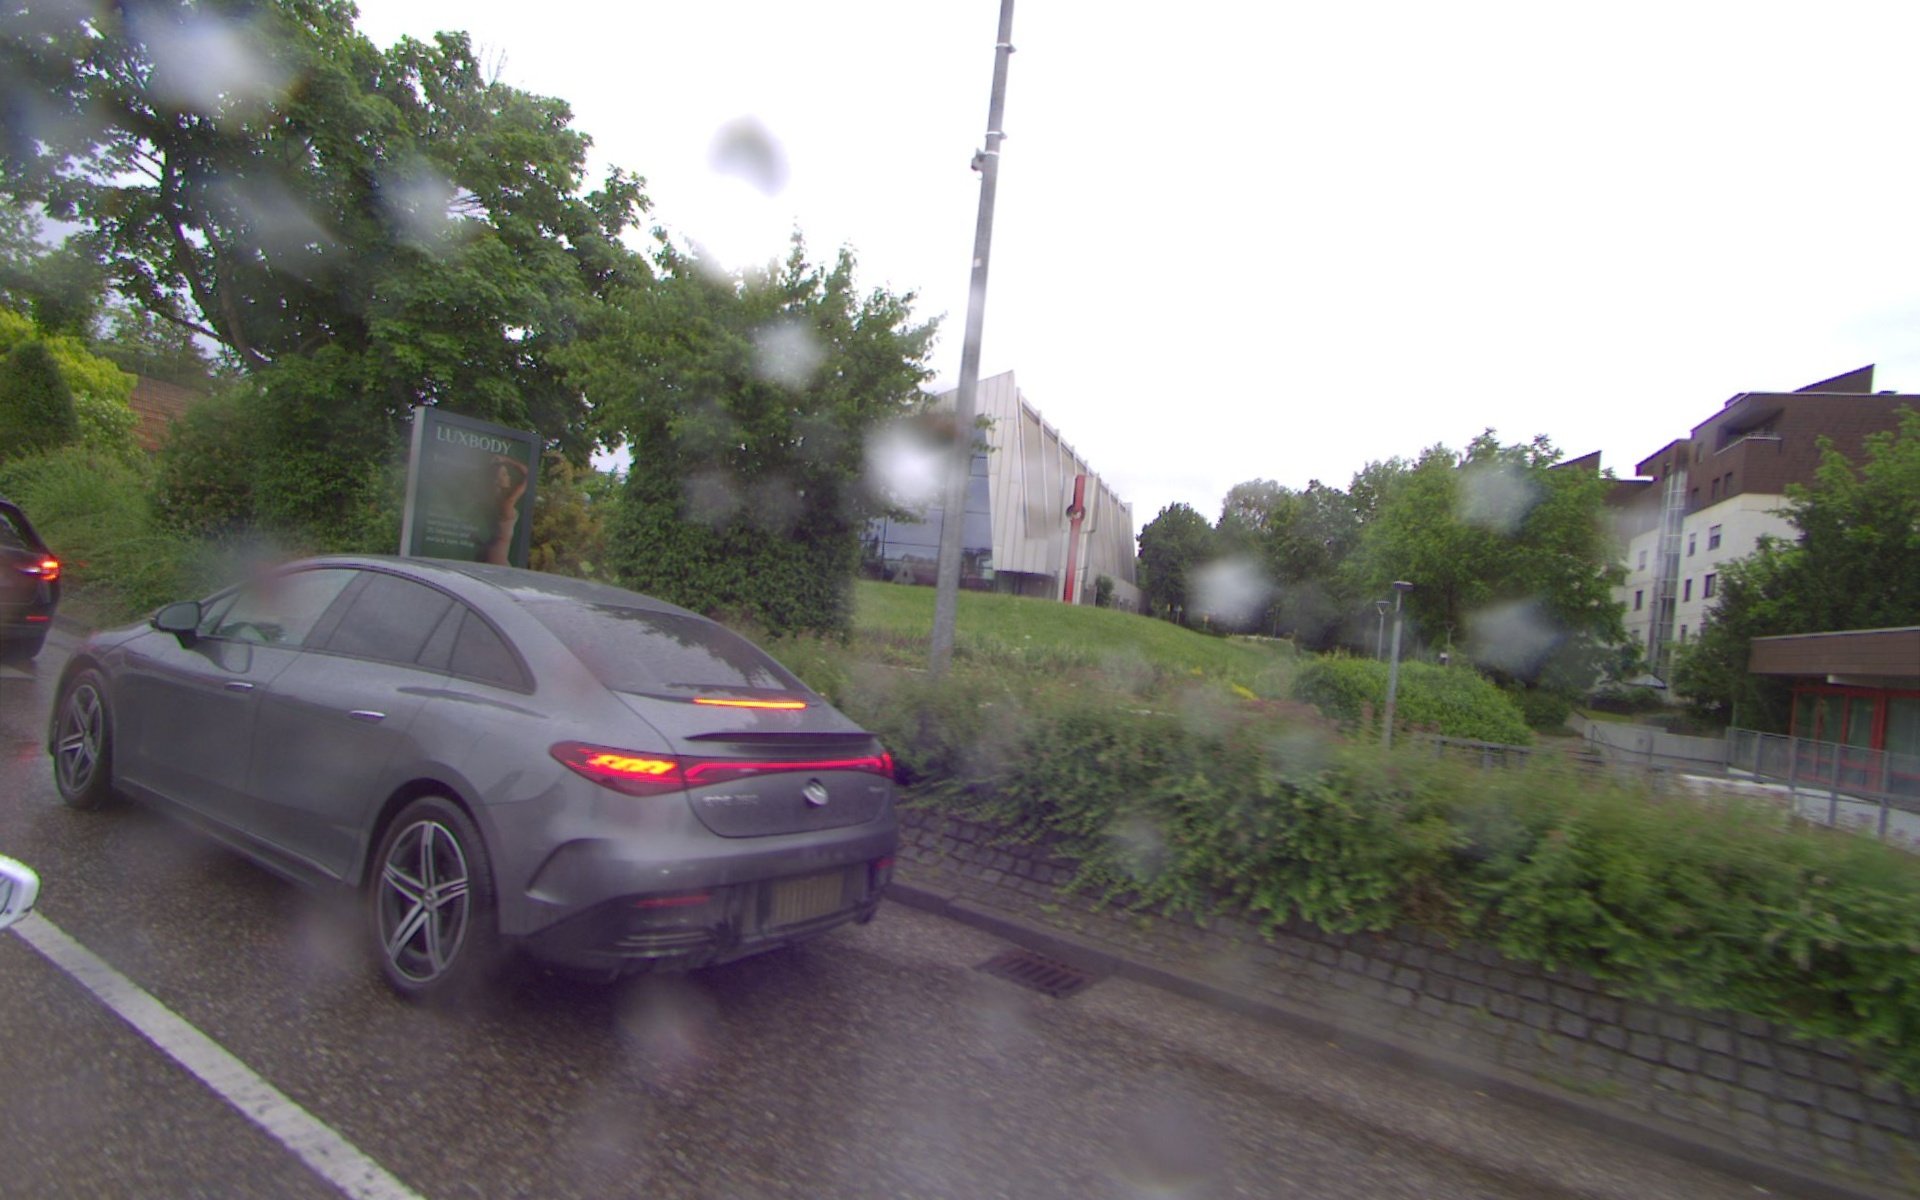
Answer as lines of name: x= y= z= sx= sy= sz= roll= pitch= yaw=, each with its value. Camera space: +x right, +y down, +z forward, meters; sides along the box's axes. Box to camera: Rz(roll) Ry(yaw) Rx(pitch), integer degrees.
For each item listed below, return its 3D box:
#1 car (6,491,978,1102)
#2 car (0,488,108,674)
car: x=-2.486 y=0.526 z=4.893 sx=4.728 sy=1.483 sz=1.842 roll=8 pitch=-2 yaw=31
car: x=-9.814 y=-0.437 z=9.096 sx=4.276 sy=1.483 sz=1.842 roll=8 pitch=-2 yaw=31
